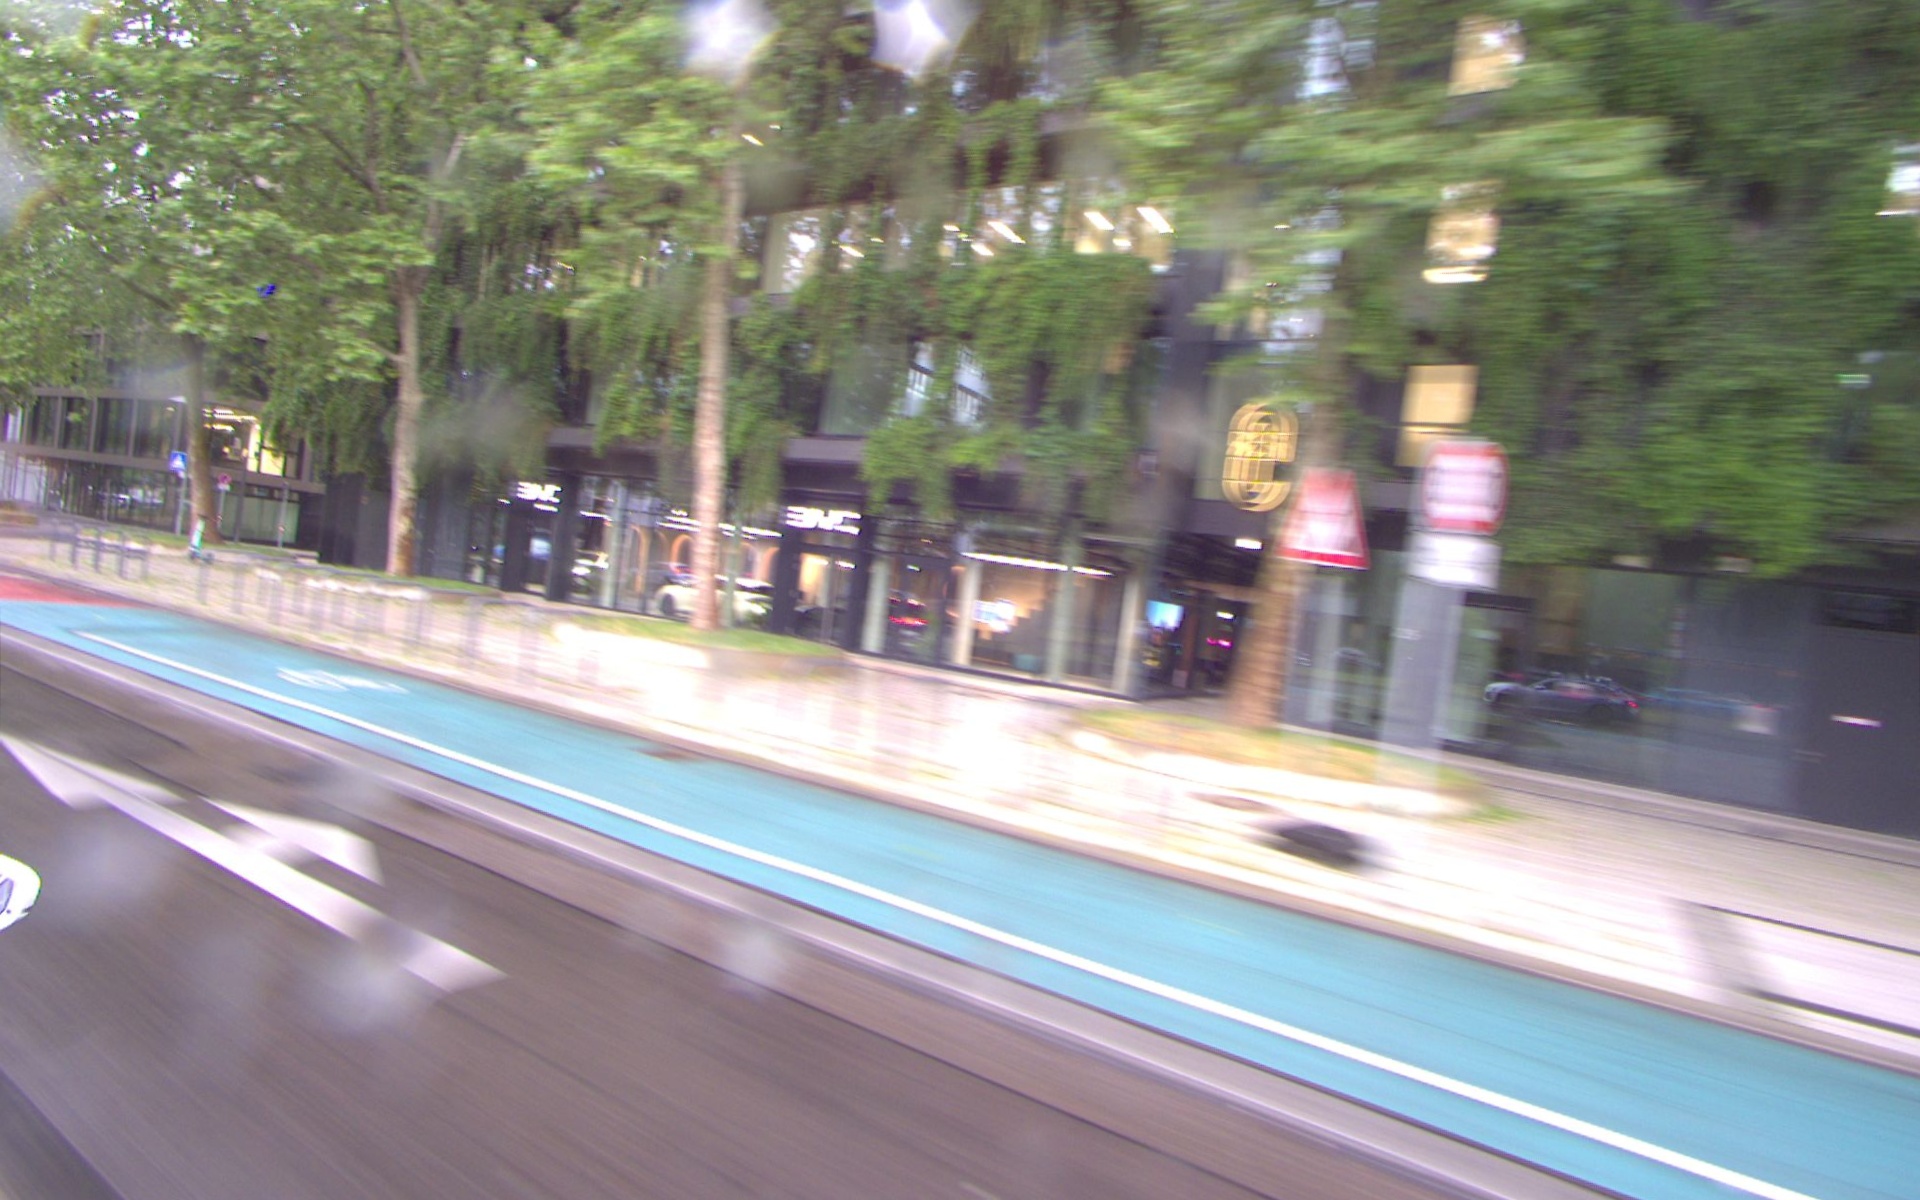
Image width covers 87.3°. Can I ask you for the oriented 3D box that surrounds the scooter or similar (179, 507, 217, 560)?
[{"bbox_3d":[-19.228,-1.670,25.400,0.377,1.243,1.073,7,1,-22],"label":"scooter or similar"}]
